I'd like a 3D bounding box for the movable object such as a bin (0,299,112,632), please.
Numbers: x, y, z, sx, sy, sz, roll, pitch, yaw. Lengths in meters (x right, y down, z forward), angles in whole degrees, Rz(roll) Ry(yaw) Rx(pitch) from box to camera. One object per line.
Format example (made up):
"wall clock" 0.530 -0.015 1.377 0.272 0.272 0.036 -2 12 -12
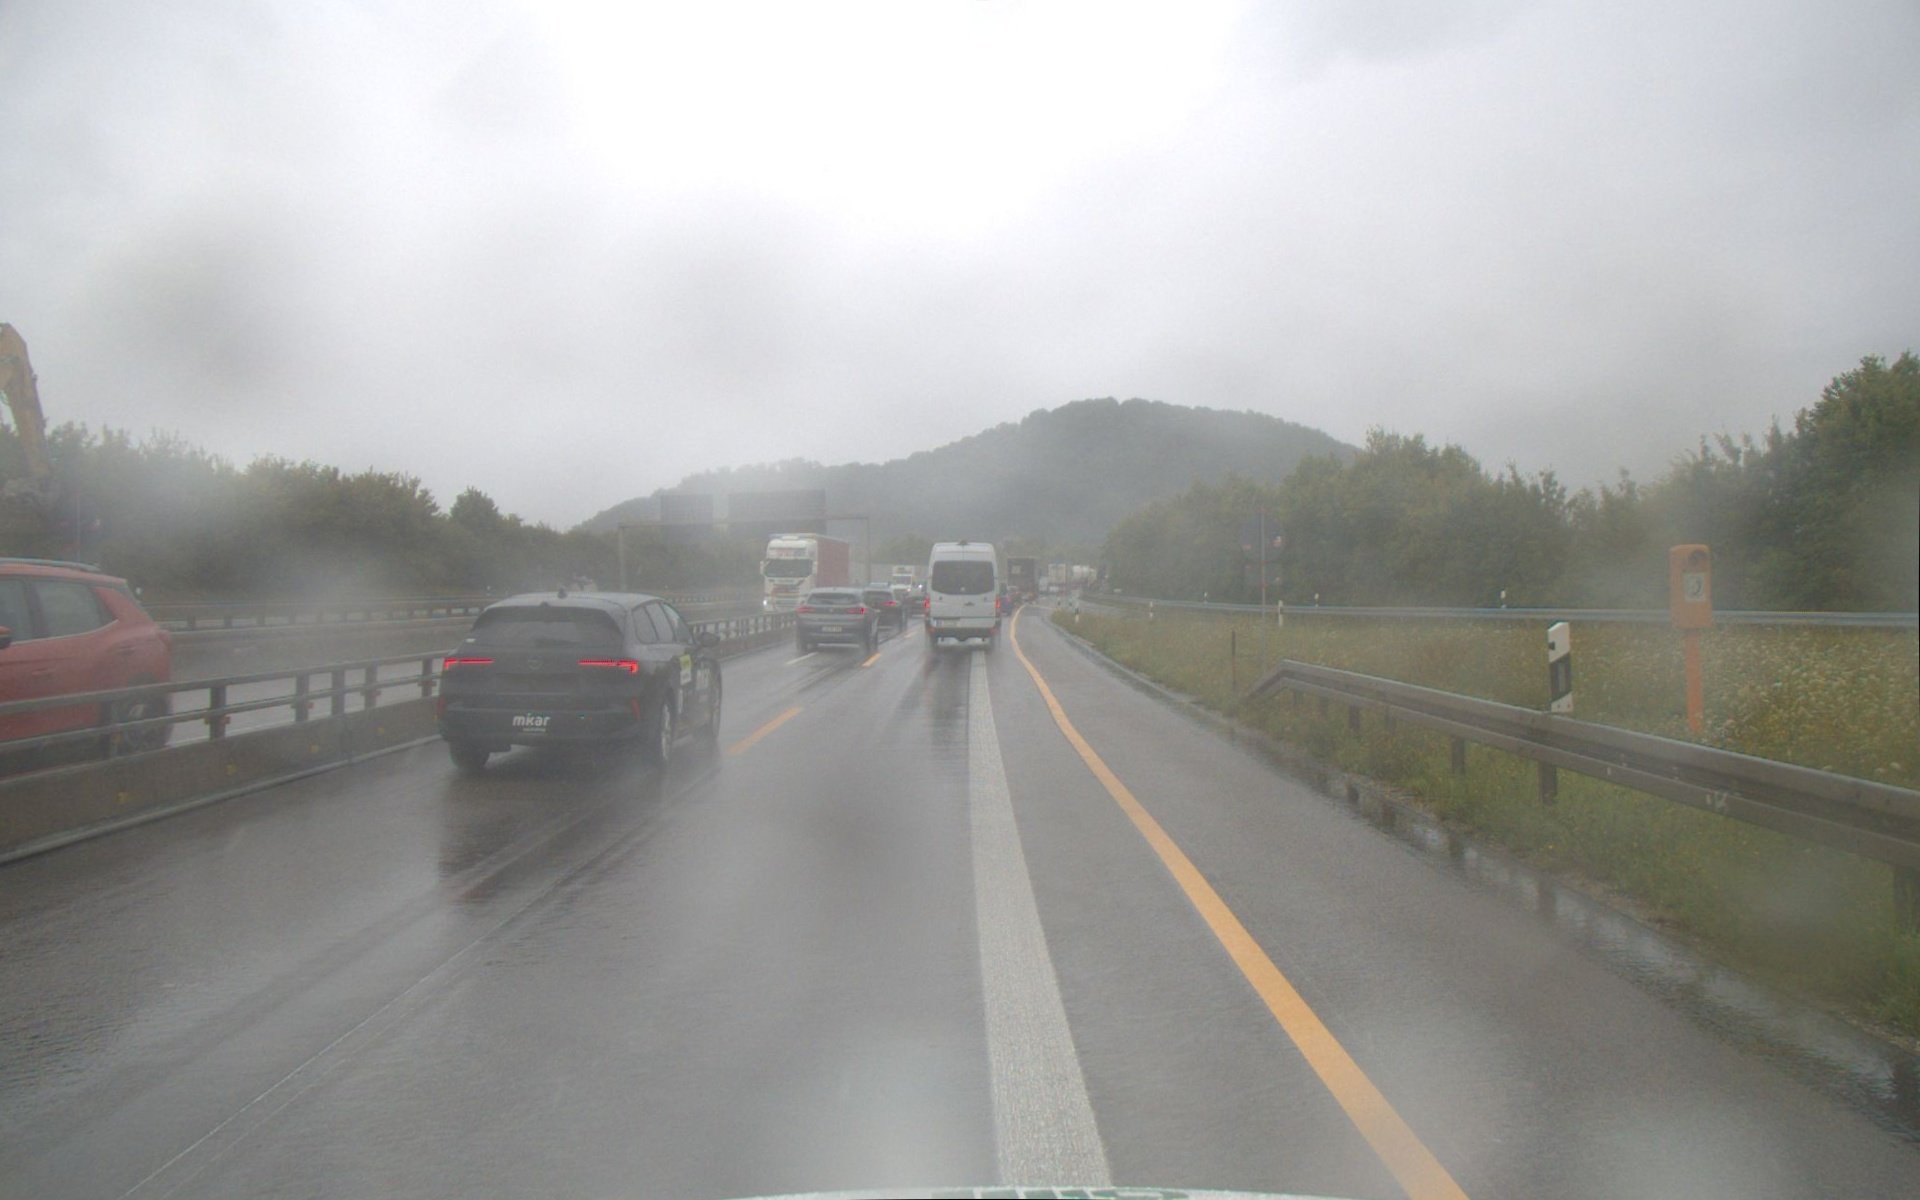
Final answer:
"movable object such as a bin" -25.675 -3.376 42.029 3.521 8.286 8.310 1 0 2

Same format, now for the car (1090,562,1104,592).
"car" 20.119 -3.362 242.975 2.014 4.265 6.750 0 0 4

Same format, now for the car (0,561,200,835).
"car" -6.559 0.559 10.262 1.765 1.621 4.183 1 0 -1

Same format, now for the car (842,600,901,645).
"car" -3.080 0.772 58.460 1.814 1.527 4.000 0 0 0

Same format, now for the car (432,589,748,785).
"car" -3.087 0.651 14.836 1.900 1.452 4.758 1 0 -2

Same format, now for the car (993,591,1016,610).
"car" 2.940 0.015 110.833 1.356 1.278 3.121 0 0 -2

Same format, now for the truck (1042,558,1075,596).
"truck" 13.589 -3.133 226.588 3.845 4.868 9.914 1 0 7

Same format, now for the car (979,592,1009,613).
"car" 1.810 0.125 89.270 1.357 1.097 3.120 0 0 -4

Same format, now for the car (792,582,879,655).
"car" -3.023 0.428 40.845 1.829 1.688 3.988 0 0 0

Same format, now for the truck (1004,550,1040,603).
"truck" 5.927 -2.165 158.361 3.251 4.868 9.909 1 0 2

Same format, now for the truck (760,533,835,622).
"truck" -8.278 -1.117 84.857 2.945 4.347 6.802 -1 0 2

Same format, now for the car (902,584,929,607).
"car" -2.167 -0.237 81.360 1.237 1.097 3.254 0 0 0

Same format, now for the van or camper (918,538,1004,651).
"van or camper" 0.059 -0.140 42.864 2.095 2.769 4.648 0 0 1
